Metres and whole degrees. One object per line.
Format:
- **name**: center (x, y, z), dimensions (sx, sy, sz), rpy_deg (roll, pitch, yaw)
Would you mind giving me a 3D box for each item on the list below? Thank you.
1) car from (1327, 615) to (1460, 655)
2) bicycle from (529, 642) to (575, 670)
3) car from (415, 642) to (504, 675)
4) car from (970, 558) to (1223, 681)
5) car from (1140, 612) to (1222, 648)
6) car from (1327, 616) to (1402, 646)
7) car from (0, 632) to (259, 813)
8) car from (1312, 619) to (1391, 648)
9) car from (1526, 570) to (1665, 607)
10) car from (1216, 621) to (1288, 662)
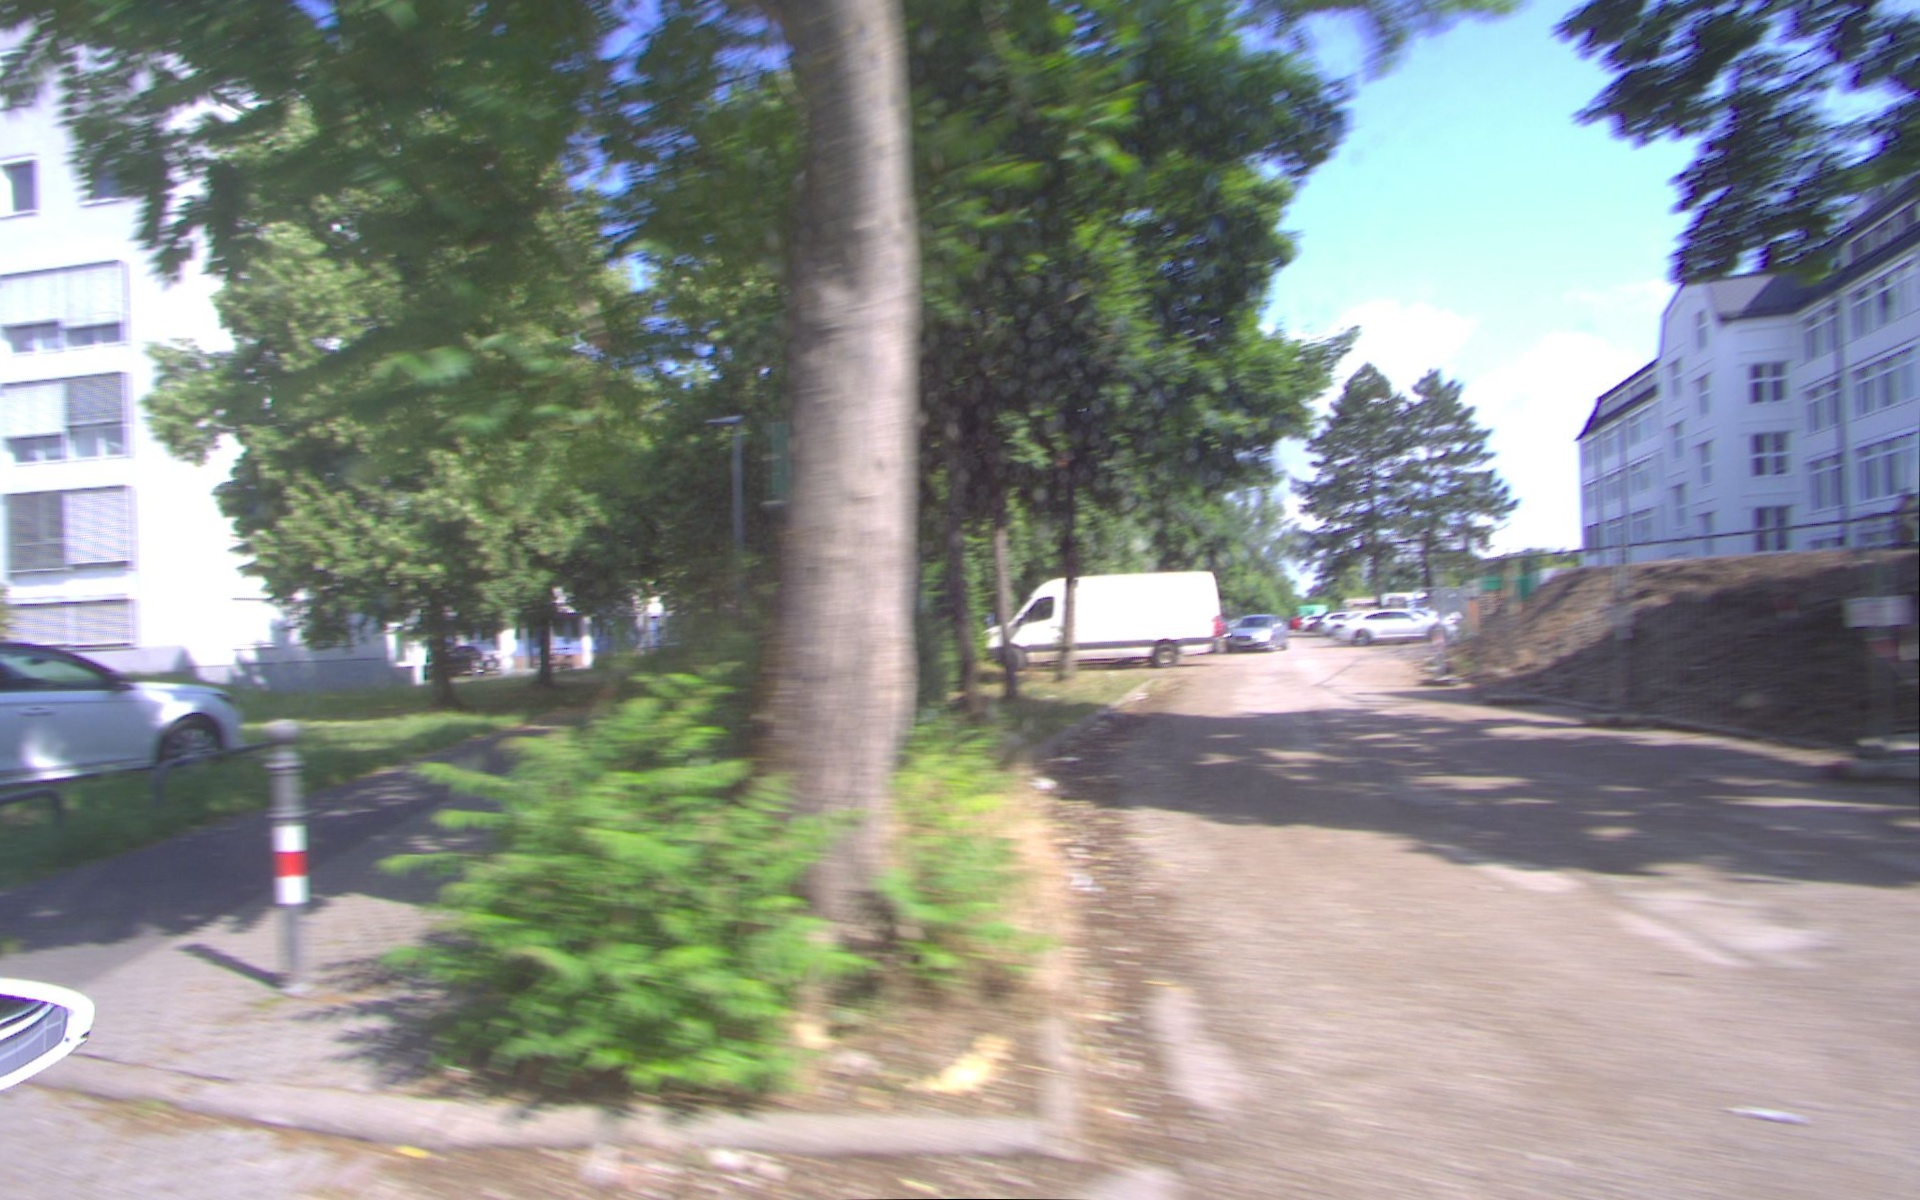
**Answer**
- **car**: center (17.509, 1.413, 40.689), dimensions (4.782, 1.446, 1.843), rpy_deg (1, -3, 19)
- **bicycle**: center (-23.154, 3.178, 56.896), dimensions (0.788, 1.439, 2.847), rpy_deg (1, 0, 18)
- **car**: center (-25.063, 2.907, 50.291), dimensions (1.727, 1.438, 3.910), rpy_deg (0, -1, 18)
- **car**: center (3.769, 0.561, 28.623), dimensions (6.839, 3.087, 2.000), rpy_deg (3, 0, 2)
- **car**: center (13.751, 1.864, 62.326), dimensions (4.782, 2.039, 1.843), rpy_deg (1, -3, 19)
- **car**: center (23.695, 1.824, 58.803), dimensions (3.982, 1.559, 1.787), rpy_deg (1, -3, 19)
- **car**: center (-8.696, 1.043, 8.831), dimensions (1.727, 1.438, 3.911), rpy_deg (0, -1, 16)
- **car**: center (24.002, 2.043, 61.511), dimensions (4.205, 1.606, 1.845), rpy_deg (1, -3, 11)
- **car**: center (27.457, -0.495, 43.433), dimensions (4.782, 1.446, 1.843), rpy_deg (1, -3, 19)
- **car**: center (11.294, 1.620, 38.584), dimensions (1.816, 1.445, 3.986), rpy_deg (1, -3, 29)
